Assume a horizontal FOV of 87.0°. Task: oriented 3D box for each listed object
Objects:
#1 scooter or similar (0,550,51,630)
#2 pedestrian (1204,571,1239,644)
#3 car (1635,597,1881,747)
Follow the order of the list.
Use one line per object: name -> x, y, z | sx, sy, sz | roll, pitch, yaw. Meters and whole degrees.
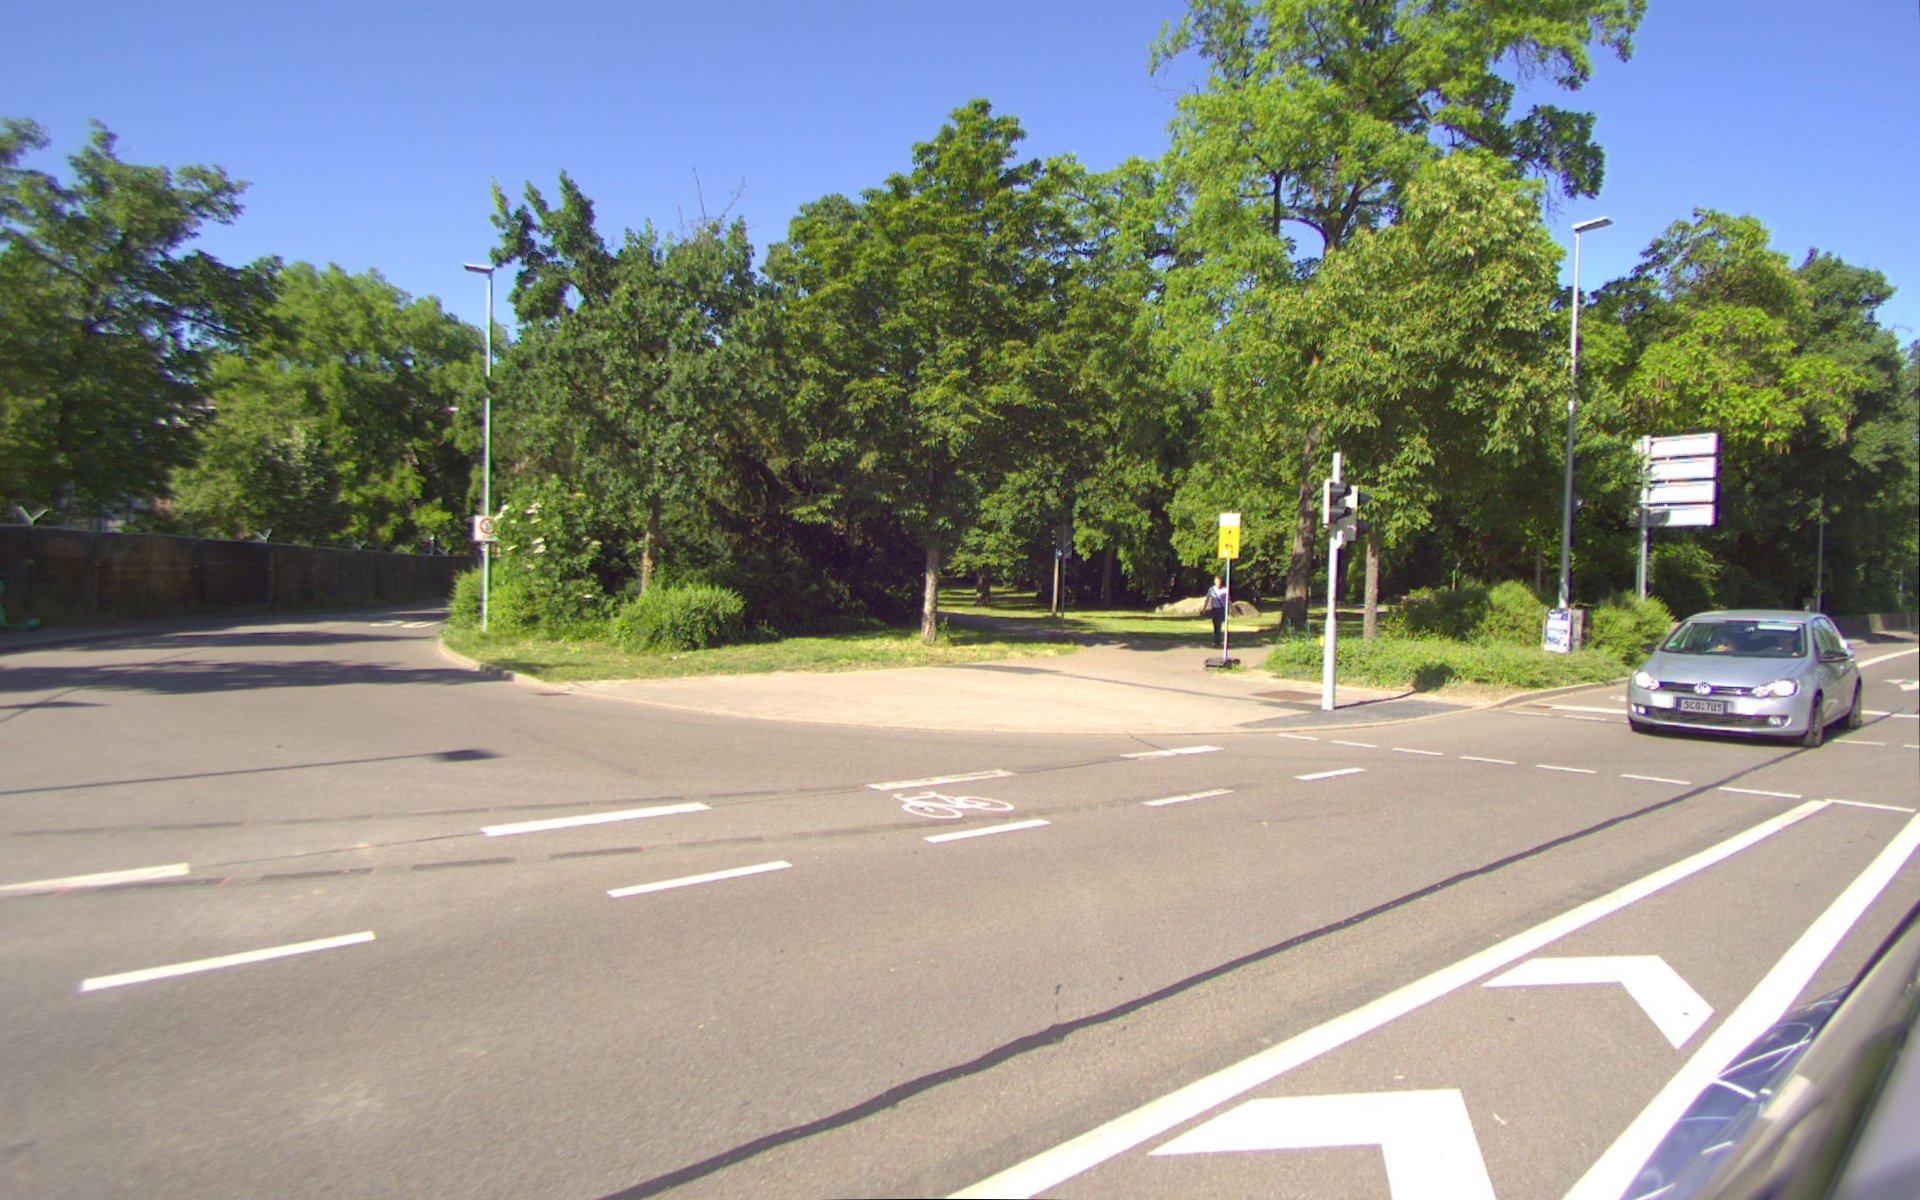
scooter or similar -> -20.719, -0.224, 21.957 | 0.563, 1.705, 2.081 | 0, 1, -14
pedestrian -> 6.346, 0.164, 24.566 | 0.729, 1.724, 0.869 | 1, 0, 20
car -> 9.727, 0.725, 12.232 | 3.931, 1.493, 1.701 | 0, 1, -42
